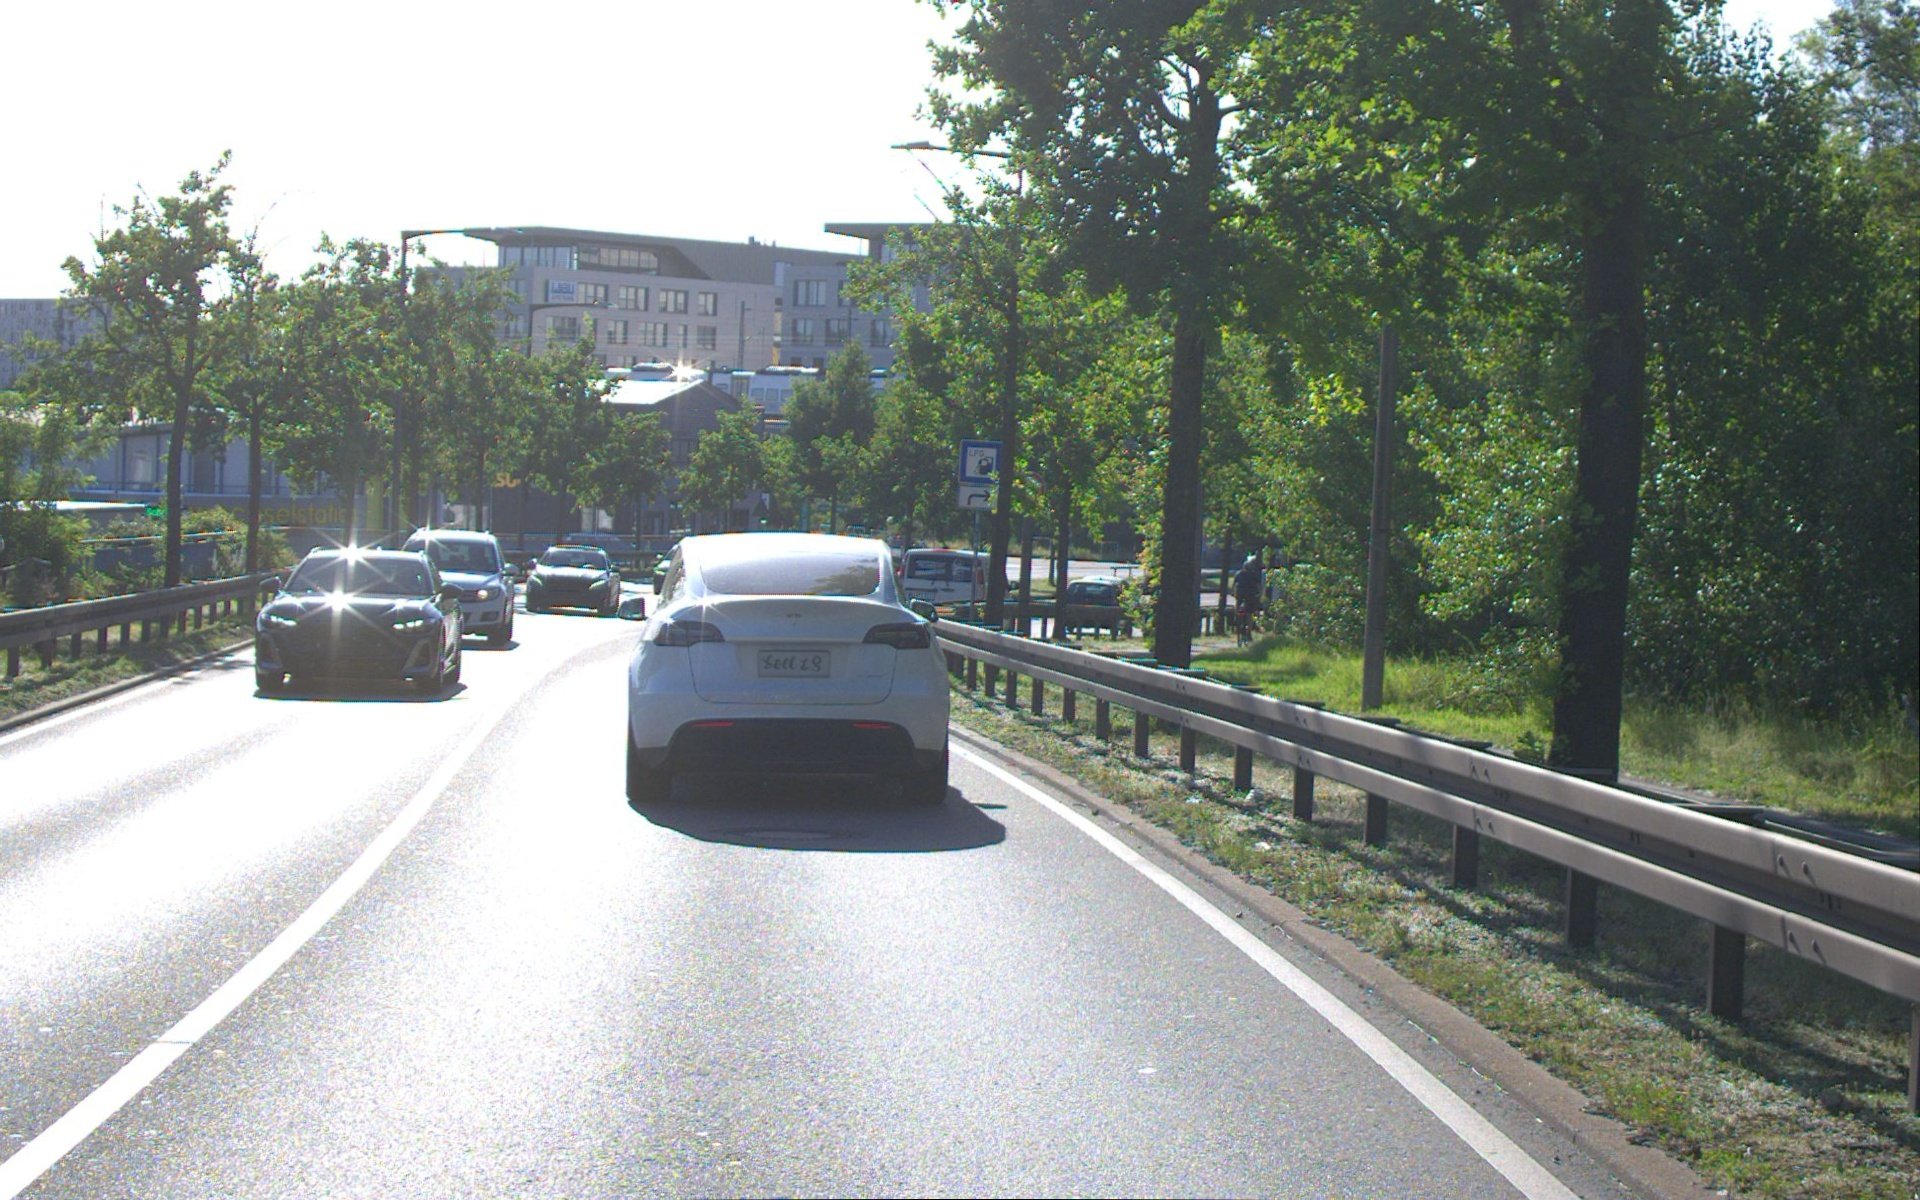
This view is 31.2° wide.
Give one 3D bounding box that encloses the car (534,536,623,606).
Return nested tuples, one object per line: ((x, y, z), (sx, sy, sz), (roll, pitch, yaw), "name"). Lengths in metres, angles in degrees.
((-8.348, -0.655, 75.509), (1.691, 1.436, 4.217), (1, 1, -3), "car")

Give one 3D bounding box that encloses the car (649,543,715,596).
((-8.258, -0.929, 102.406), (1.809, 1.491, 4.370), (1, 1, -3), "car")

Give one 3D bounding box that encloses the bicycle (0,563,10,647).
((-12.829, 0.075, 44.443), (0.660, 1.091, 2.108), (1, 1, -5), "bicycle")

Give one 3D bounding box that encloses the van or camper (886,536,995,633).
((-0.363, -0.363, 70.684), (1.958, 1.877, 4.880), (1, 1, 2), "van or camper")

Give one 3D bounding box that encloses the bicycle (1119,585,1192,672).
((2.510, 0.367, 43.944), (0.701, 1.071, 1.920), (2, -1, 9), "bicycle")

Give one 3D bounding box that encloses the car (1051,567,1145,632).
((3.626, -0.033, 90.013), (1.605, 1.429, 3.676), (4, 4, 15), "car")

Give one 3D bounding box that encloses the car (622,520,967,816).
((-1.147, 0.338, 21.614), (1.913, 1.635, 4.411), (1, 1, -6), "car")

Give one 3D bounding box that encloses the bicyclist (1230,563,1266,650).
((5.976, 0.123, 71.381), (0.675, 1.770, 0.948), (1, 1, 7), "bicyclist")

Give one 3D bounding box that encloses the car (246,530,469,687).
((-6.214, 0.034, 35.914), (1.849, 1.486, 4.717), (1, 1, -5), "car")

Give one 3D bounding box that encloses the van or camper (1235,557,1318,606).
((12.805, -0.771, 138.901), (1.828, 1.784, 4.539), (5, 3, 25), "van or camper")

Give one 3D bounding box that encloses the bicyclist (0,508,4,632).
((-12.830, -0.387, 44.602), (0.651, 1.618, 0.874), (1, 1, -5), "bicyclist")

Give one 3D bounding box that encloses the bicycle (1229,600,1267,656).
((5.986, 0.580, 71.342), (0.695, 1.091, 2.117), (1, 1, 7), "bicycle")

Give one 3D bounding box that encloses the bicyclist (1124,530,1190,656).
((2.519, -0.088, 43.920), (0.707, 1.573, 1.004), (1, 0, 9), "bicyclist")

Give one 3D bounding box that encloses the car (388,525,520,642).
((-7.545, -0.281, 51.545), (1.728, 1.652, 3.983), (1, 1, -6), "car")
